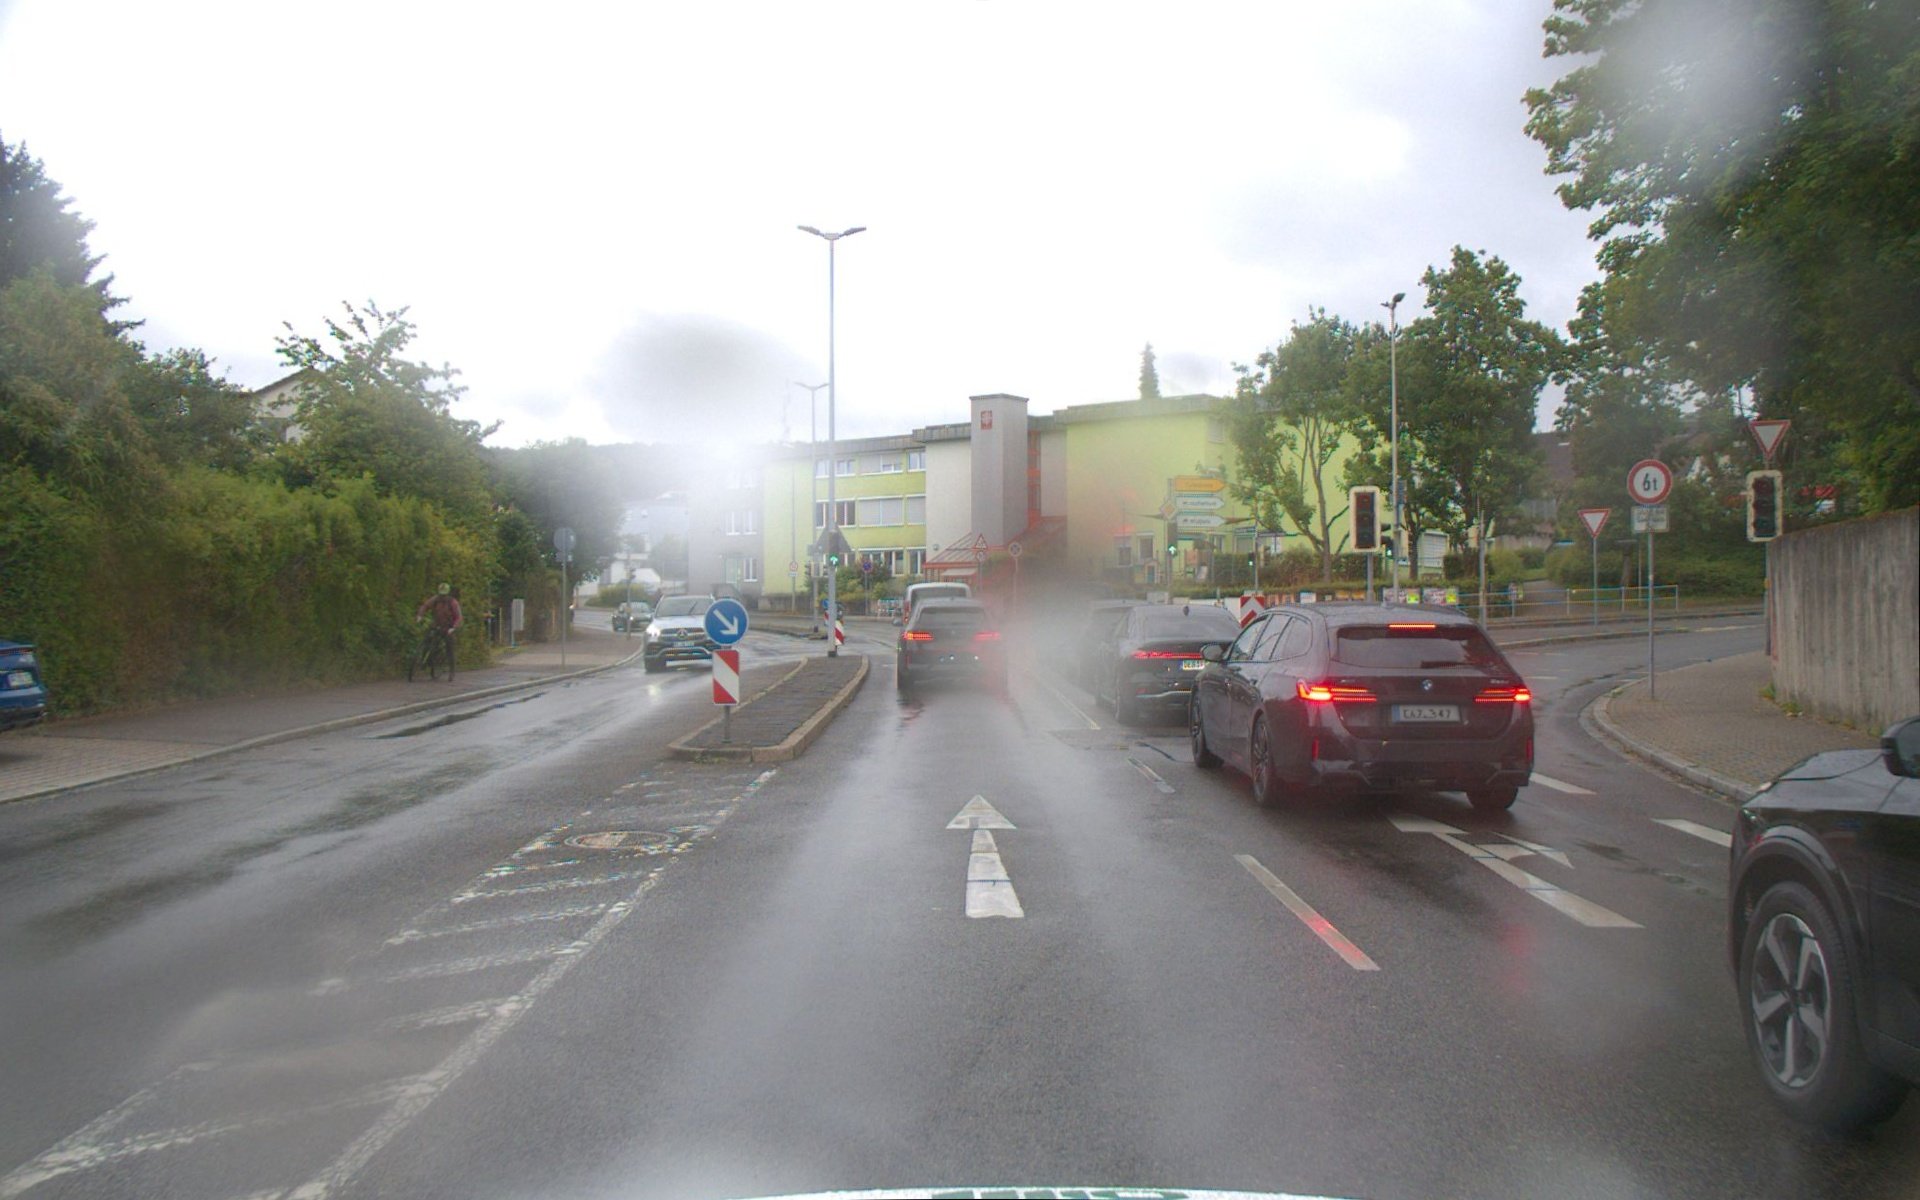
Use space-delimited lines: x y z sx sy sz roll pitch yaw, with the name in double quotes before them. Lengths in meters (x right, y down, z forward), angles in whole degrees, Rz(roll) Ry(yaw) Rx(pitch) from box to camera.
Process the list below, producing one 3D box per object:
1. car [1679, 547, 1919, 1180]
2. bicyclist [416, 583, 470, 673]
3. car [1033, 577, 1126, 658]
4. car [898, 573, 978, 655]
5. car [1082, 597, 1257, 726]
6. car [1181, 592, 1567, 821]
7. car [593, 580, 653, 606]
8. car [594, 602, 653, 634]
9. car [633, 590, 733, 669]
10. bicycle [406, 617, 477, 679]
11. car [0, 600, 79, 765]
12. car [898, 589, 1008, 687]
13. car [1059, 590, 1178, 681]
"car" 3.347 0.678 3.523 1.753 1.631 4.254 -3 1 0
"bicyclist" -9.584 0.514 30.679 0.749 1.640 0.868 0 0 -2
"car" 2.772 0.385 39.199 1.747 1.764 4.085 -2 0 -2
"car" -0.597 0.304 41.327 1.683 1.876 4.083 -2 1 -5
"car" 2.630 0.721 21.717 1.672 1.452 4.508 -1 0 -1
"car" 3.107 0.703 13.503 1.866 1.484 4.777 -1 0 -1
"car" -26.088 -0.544 128.020 4.327 1.802 1.990 -3 0 -18
"car" -17.534 0.949 86.118 1.774 1.515 4.113 -3 0 -29
"car" -6.810 0.666 41.041 2.001 1.746 4.477 -2 1 -5
"bicycle" -9.581 0.869 30.604 0.732 1.105 1.988 1 0 -2
"car" -10.722 0.687 15.026 4.397 1.386 1.803 1 2 -8
"car" -0.180 0.601 28.681 1.649 1.532 3.771 -1 0 -4
"car" 2.891 0.609 30.893 1.812 1.512 4.087 -2 1 0
